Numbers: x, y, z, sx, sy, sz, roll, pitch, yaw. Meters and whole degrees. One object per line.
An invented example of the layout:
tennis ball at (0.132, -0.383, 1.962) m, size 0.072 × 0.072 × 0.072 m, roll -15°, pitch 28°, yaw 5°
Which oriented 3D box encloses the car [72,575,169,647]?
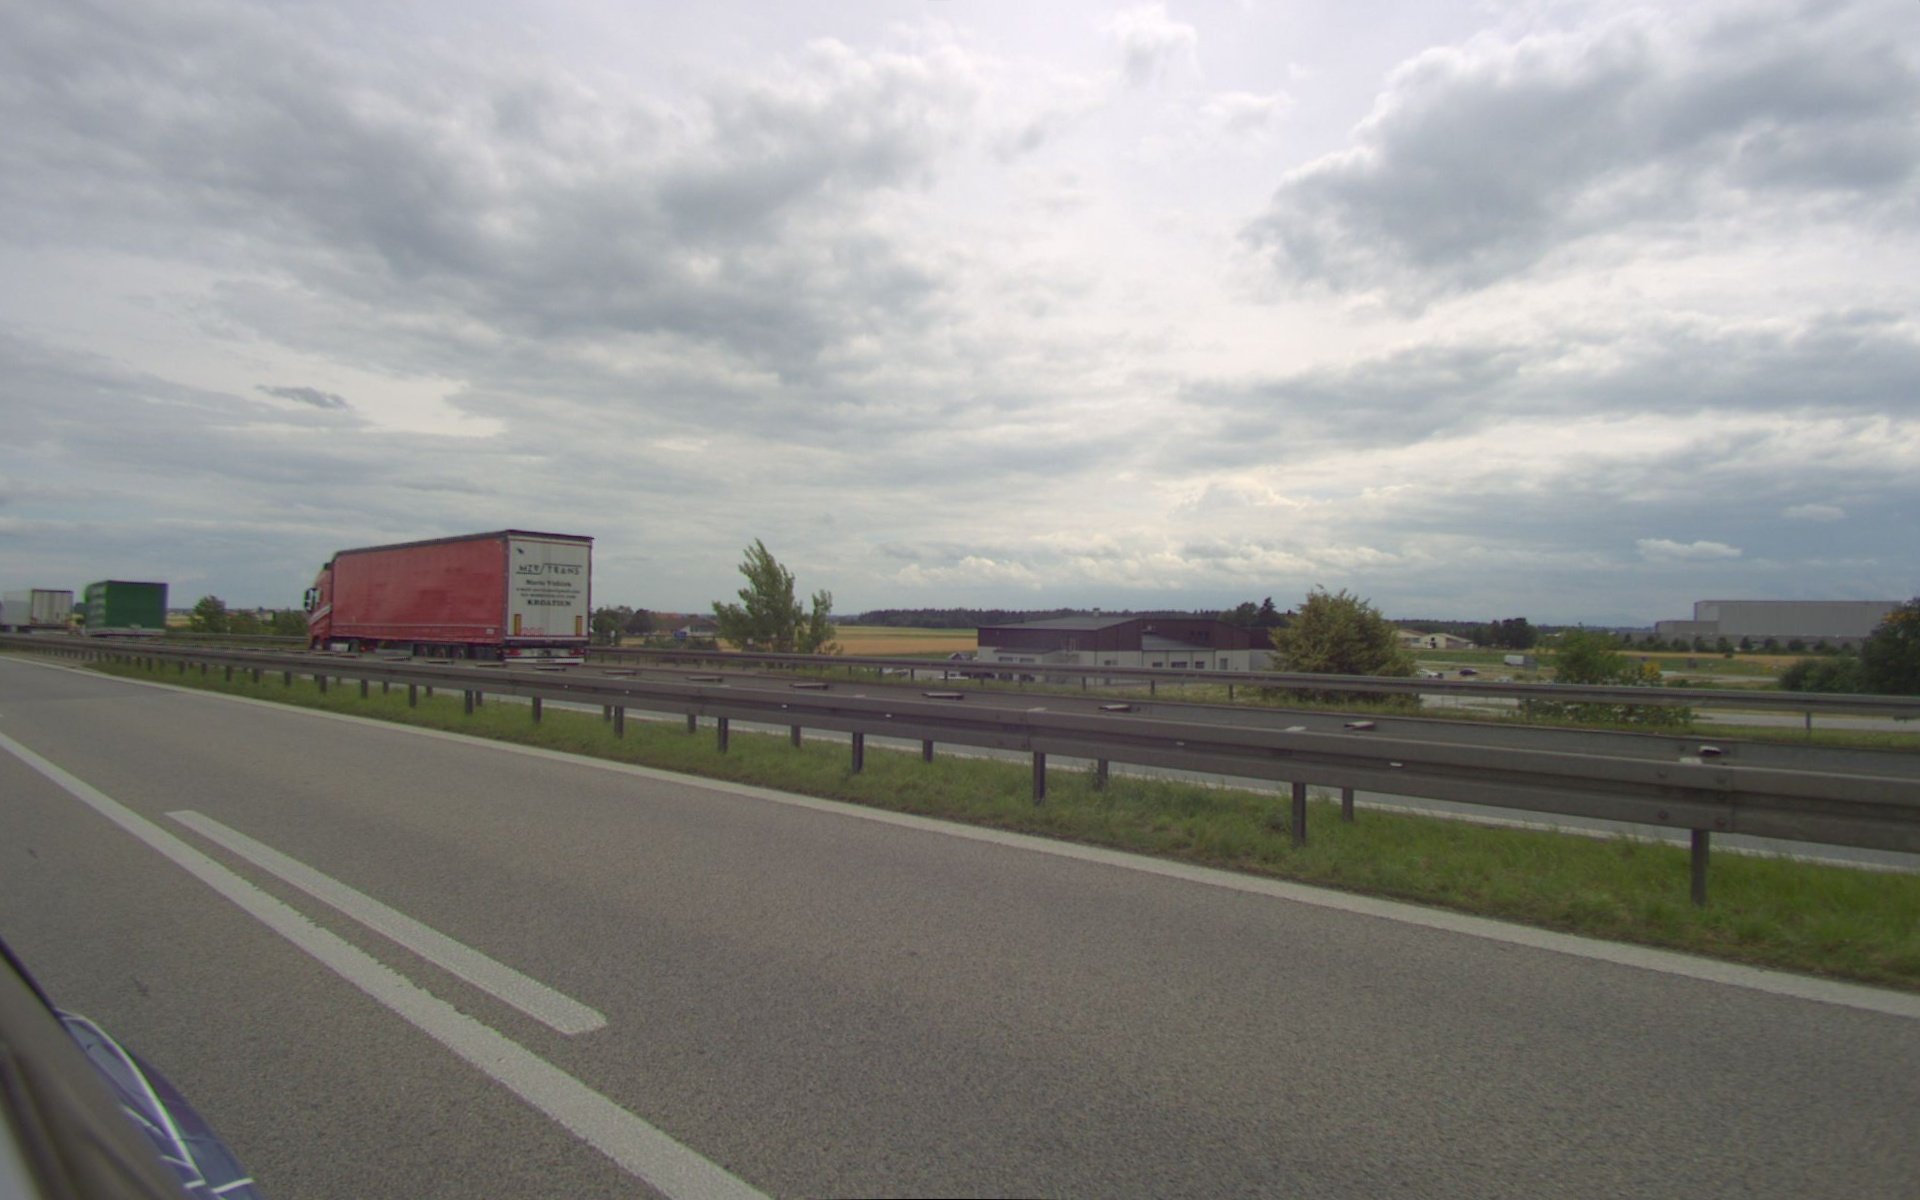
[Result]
car at (-41.122, 0.546, 49.506) m, size 7.206 × 3.296 × 2.512 m, roll -1°, pitch 0°, yaw 41°

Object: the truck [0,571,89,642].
truck at (-78.361, 0.554, 86.272) m, size 14.032 × 5.602 × 4.278 m, roll -1°, pitch 0°, yaw 41°

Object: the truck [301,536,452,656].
truck at (-21.339, -0.114, 36.882) m, size 6.321 × 3.977 × 2.880 m, roll -1°, pitch 0°, yaw 41°

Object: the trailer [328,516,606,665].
trailer at (-16.326, -0.194, 32.512) m, size 13.970 × 3.971 × 2.879 m, roll -1°, pitch 0°, yaw 41°
